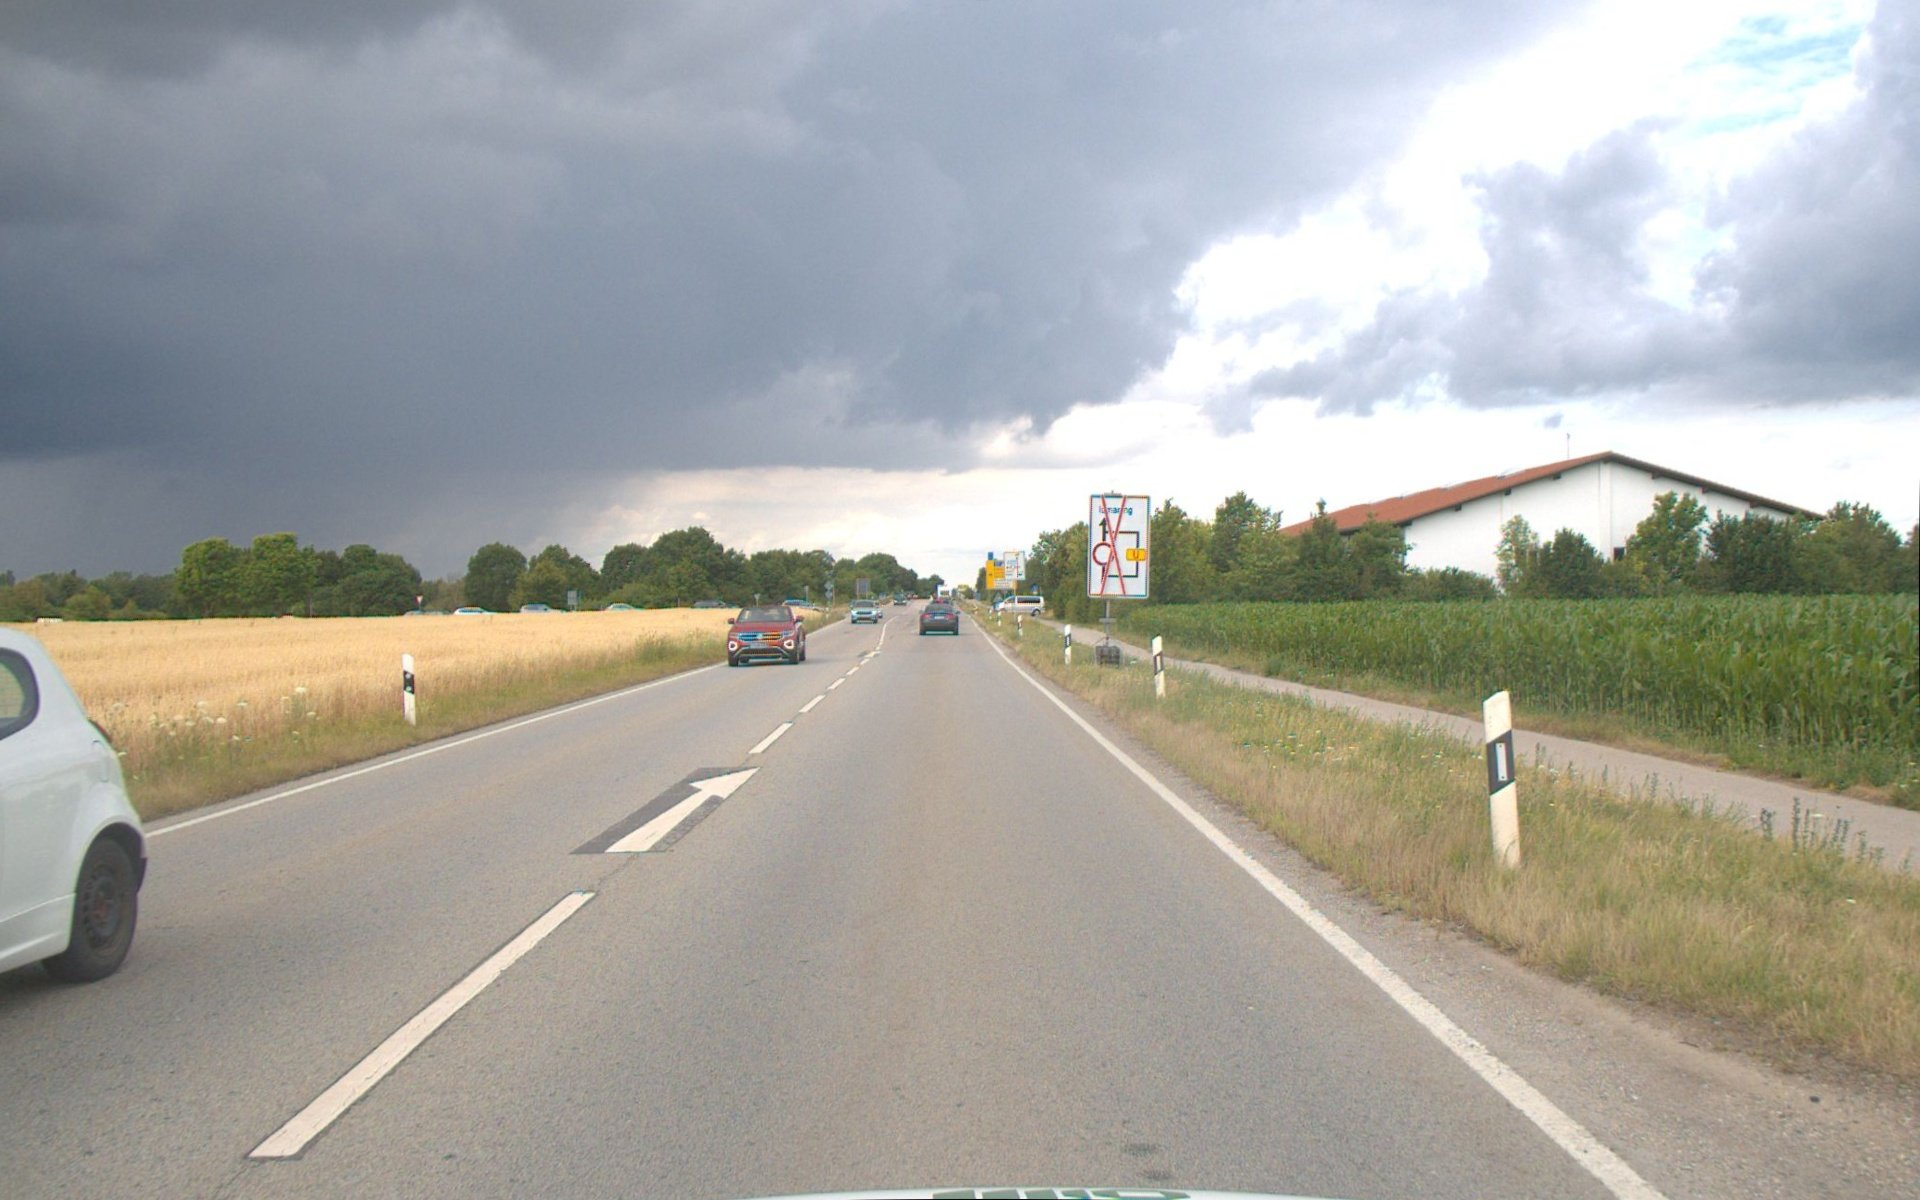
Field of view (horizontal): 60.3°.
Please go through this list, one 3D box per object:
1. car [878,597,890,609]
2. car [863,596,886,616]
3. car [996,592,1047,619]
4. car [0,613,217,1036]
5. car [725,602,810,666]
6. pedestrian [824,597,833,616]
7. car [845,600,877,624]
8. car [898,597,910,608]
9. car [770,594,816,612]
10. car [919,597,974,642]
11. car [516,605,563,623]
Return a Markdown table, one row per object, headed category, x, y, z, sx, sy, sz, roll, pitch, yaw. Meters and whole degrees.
| category | x | y | z | sx | sy | sz | roll | pitch | yaw |
| --- | --- | --- | --- | --- | --- | --- | --- | --- | --- |
| car | -11.032 | 0.448 | 239.785 | 1.612 | 1.618 | 4.000 | -1 | 0 | 0 |
| car | -7.254 | 0.526 | 140.880 | 1.731 | 1.629 | 4.929 | -1 | 0 | -1 |
| car | 6.015 | 0.527 | 162.140 | 4.740 | 2.495 | 2.004 | -1 | 0 | -4 |
| car | -4.282 | 0.815 | 5.514 | 1.769 | 1.482 | 4.113 | -1 | 0 | -1 |
| car | -4.928 | 0.839 | 42.883 | 1.677 | 1.514 | 4.607 | -1 | 0 | -1 |
| pedestrian | -11.343 | 0.579 | 142.426 | 0.360 | 1.603 | 0.701 | -1 | -1 | 35 |
| car | -7.013 | 0.841 | 117.765 | 2.023 | 1.608 | 4.764 | -2 | 0 | -1 |
| car | -7.861 | 0.340 | 233.395 | 1.612 | 1.618 | 4.000 | -1 | 0 | 0 |
| car | -15.967 | 0.301 | 157.897 | 4.327 | 1.678 | 1.500 | -1 | 0 | -6 |
| car | -0.664 | 0.899 | 77.202 | 2.325 | 1.913 | 4.475 | -2 | 0 | -3 |
| car | -40.430 | 1.310 | 159.046 | 3.986 | 1.678 | 1.867 | -1 | 0 | 3 |
